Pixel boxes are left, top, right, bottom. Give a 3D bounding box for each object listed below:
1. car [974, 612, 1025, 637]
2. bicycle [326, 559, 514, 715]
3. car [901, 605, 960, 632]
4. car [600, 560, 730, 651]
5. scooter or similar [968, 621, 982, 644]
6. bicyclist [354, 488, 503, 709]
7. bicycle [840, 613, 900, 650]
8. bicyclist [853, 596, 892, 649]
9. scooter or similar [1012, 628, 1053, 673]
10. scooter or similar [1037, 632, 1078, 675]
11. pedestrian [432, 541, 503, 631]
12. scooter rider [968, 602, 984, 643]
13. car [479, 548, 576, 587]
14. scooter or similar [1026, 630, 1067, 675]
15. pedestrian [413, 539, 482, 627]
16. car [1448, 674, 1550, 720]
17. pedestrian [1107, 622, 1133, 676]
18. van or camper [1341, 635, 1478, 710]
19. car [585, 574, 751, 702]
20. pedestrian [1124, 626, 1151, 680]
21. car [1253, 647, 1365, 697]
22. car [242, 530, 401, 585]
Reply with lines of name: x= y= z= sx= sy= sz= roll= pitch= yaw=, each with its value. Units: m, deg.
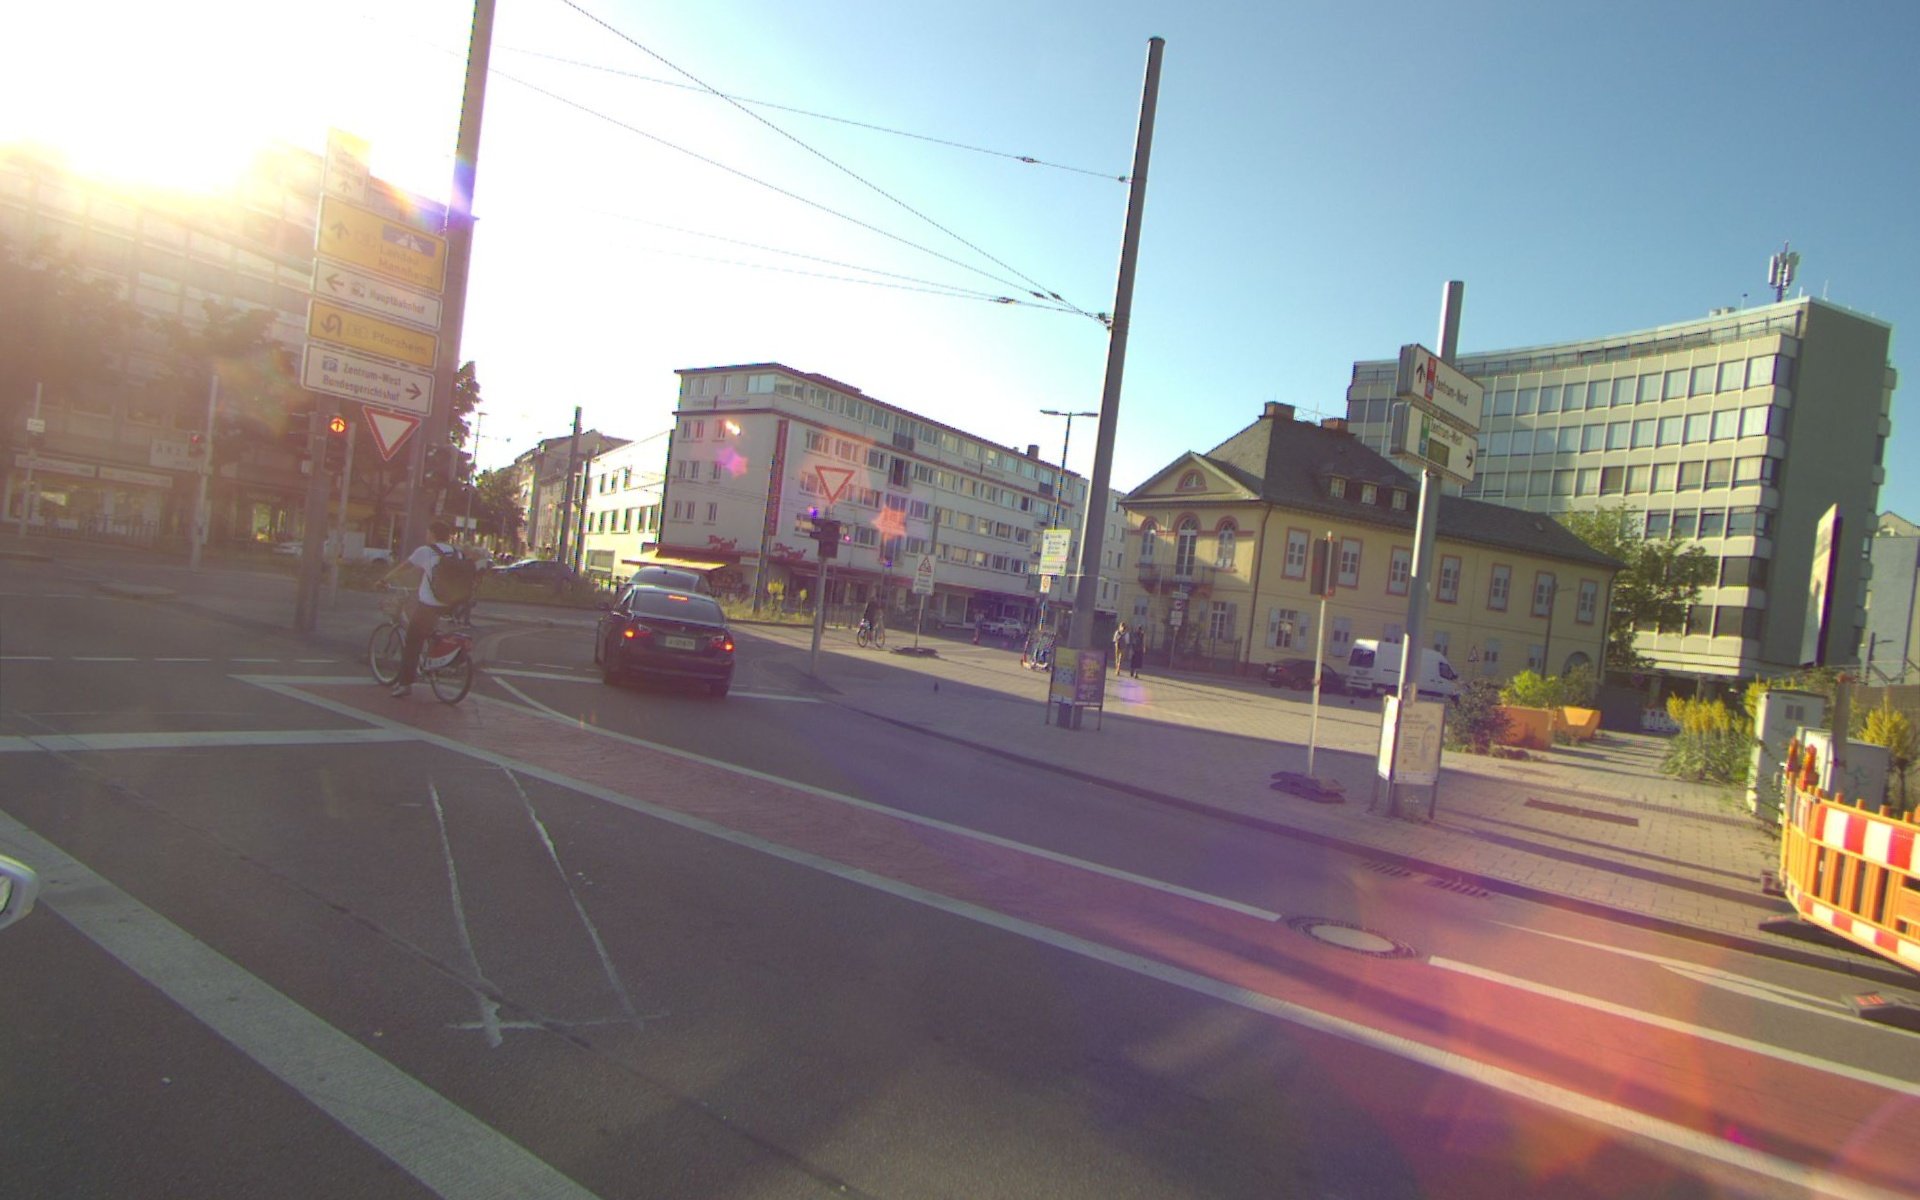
car: x=3.324 y=2.022 z=83.924 sx=1.971 sy=1.597 sz=4.307 roll=7 pitch=-1 yaw=39
bicycle: x=-5.470 y=0.356 z=10.147 sx=2.014 sy=1.237 sz=0.645 roll=9 pitch=0 yaw=33
car: x=-2.213 y=1.411 z=76.174 sx=1.971 sy=1.597 sz=4.307 roll=7 pitch=-1 yaw=39
car: x=-6.979 y=0.144 z=24.254 sx=1.965 sy=1.713 sz=3.998 roll=9 pitch=-1 yaw=-4
scooter or similar: x=0.726 y=1.557 z=48.738 sx=0.485 sy=1.046 sz=1.386 roll=7 pitch=0 yaw=-3
bicyclist: x=-5.341 y=-0.017 z=10.111 sx=1.049 sy=2.037 sz=0.644 roll=9 pitch=0 yaw=33
bicycle: x=-3.040 y=1.084 z=34.160 sx=0.671 sy=1.039 sz=2.227 roll=7 pitch=-1 yaw=35
bicyclist: x=-2.983 y=0.759 z=34.178 sx=0.680 sy=1.682 sz=0.959 roll=7 pitch=0 yaw=35
scooter or similar: x=2.319 y=1.615 z=32.380 sx=0.564 sy=1.274 sz=1.334 roll=7 pitch=0 yaw=-28
scooter or similar: x=3.203 y=1.754 z=33.256 sx=0.564 sy=1.274 sz=1.334 roll=7 pitch=0 yaw=-28
pedestrian: x=-9.491 y=-0.257 z=19.395 sx=0.644 sy=1.617 sz=0.879 roll=7 pitch=1 yaw=30
scooter rider: x=0.764 y=1.099 z=48.896 sx=0.492 sy=1.944 sz=0.533 roll=7 pitch=1 yaw=-3
car: x=-21.868 y=-1.625 z=50.970 sx=1.968 sy=1.437 sz=3.989 roll=7 pitch=-1 yaw=35
scooter or similar: x=2.814 y=1.693 z=32.697 sx=0.564 sy=1.274 sz=1.334 roll=7 pitch=0 yaw=-28
pedestrian: x=-10.170 y=-0.328 z=19.984 sx=0.644 sy=1.617 sz=0.879 roll=7 pitch=1 yaw=30
car: x=25.560 y=4.613 z=47.764 sx=3.942 sy=1.593 sz=1.992 roll=7 pitch=0 yaw=-18
pedestrian: x=5.752 y=1.757 z=36.131 sx=0.587 sy=1.847 sz=0.728 roll=7 pitch=1 yaw=23
van or camper: x=20.350 y=3.290 z=45.594 sx=5.524 sy=2.668 sz=1.992 roll=7 pitch=0 yaw=-18
car: x=-4.454 y=0.466 z=14.937 sx=1.727 sy=1.443 sz=3.977 roll=7 pitch=-1 yaw=-24
pedestrian: x=6.330 y=1.883 z=35.805 sx=0.587 sy=1.847 sz=0.728 roll=7 pitch=1 yaw=23
car: x=15.158 y=3.127 z=43.762 sx=4.102 sy=1.593 sz=1.992 roll=7 pitch=0 yaw=-18
car: x=-25.480 y=-1.667 z=40.297 sx=1.969 sy=1.496 sz=4.922 roll=7 pitch=-1 yaw=35
